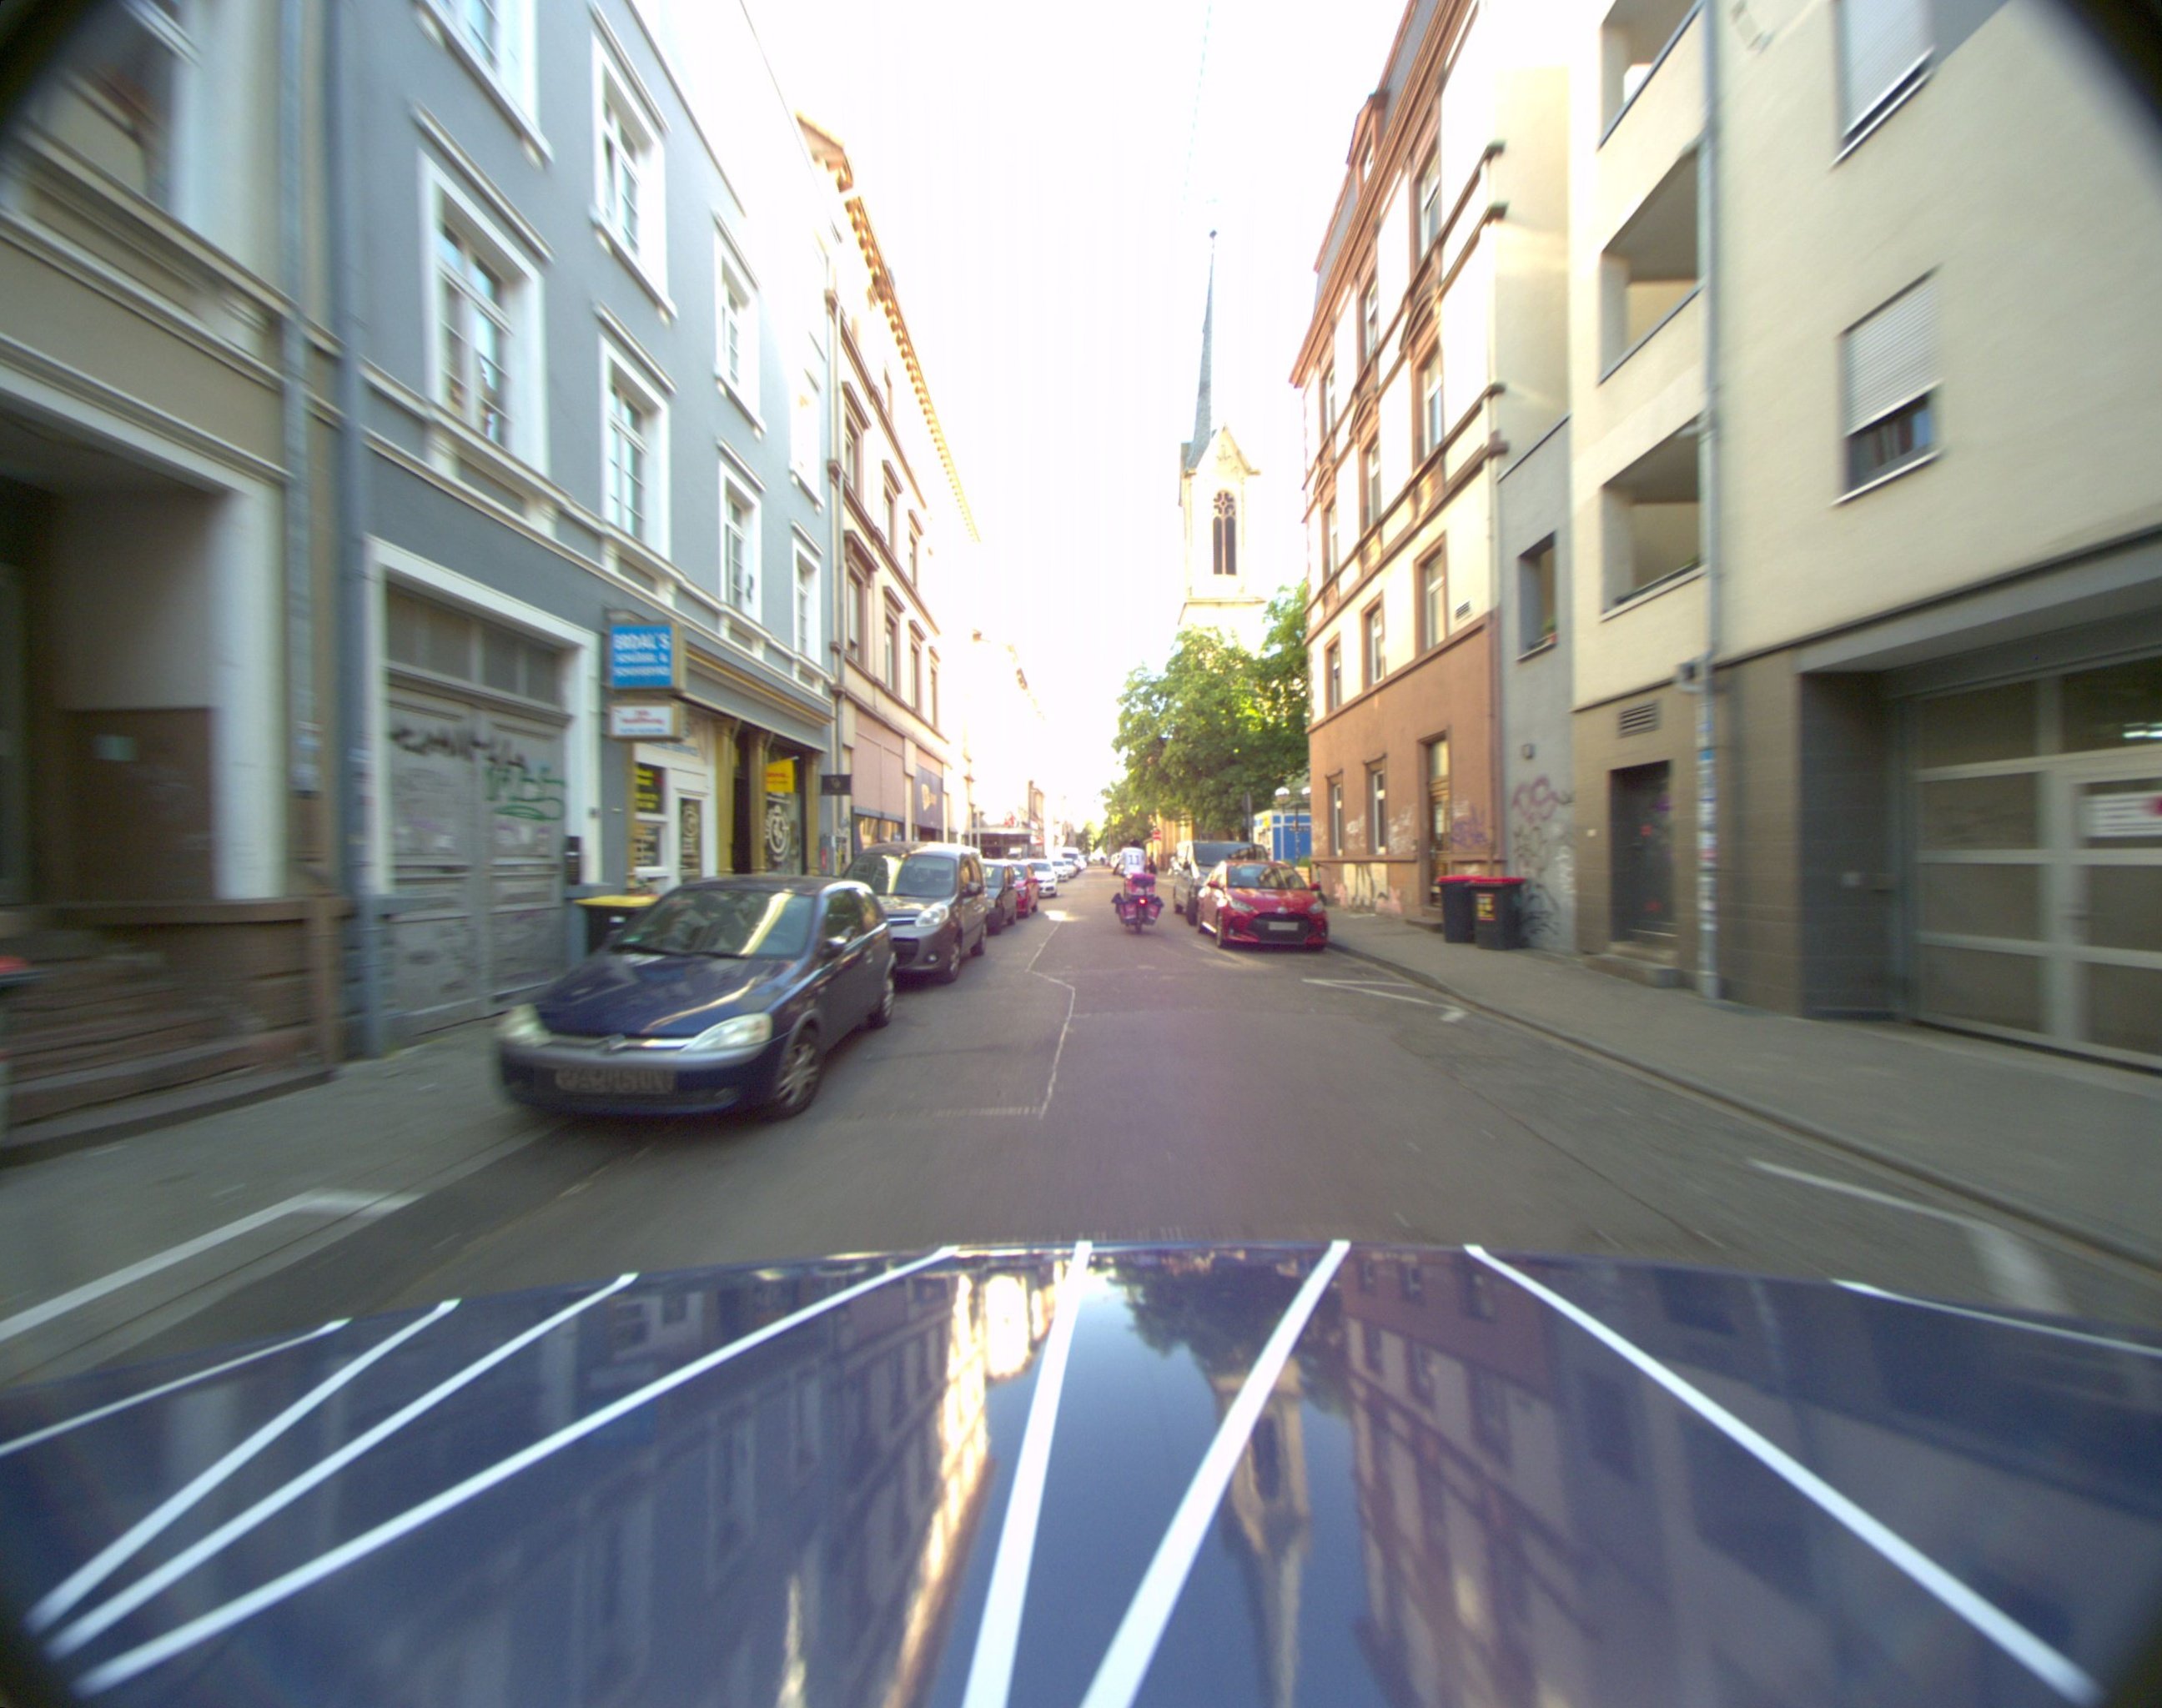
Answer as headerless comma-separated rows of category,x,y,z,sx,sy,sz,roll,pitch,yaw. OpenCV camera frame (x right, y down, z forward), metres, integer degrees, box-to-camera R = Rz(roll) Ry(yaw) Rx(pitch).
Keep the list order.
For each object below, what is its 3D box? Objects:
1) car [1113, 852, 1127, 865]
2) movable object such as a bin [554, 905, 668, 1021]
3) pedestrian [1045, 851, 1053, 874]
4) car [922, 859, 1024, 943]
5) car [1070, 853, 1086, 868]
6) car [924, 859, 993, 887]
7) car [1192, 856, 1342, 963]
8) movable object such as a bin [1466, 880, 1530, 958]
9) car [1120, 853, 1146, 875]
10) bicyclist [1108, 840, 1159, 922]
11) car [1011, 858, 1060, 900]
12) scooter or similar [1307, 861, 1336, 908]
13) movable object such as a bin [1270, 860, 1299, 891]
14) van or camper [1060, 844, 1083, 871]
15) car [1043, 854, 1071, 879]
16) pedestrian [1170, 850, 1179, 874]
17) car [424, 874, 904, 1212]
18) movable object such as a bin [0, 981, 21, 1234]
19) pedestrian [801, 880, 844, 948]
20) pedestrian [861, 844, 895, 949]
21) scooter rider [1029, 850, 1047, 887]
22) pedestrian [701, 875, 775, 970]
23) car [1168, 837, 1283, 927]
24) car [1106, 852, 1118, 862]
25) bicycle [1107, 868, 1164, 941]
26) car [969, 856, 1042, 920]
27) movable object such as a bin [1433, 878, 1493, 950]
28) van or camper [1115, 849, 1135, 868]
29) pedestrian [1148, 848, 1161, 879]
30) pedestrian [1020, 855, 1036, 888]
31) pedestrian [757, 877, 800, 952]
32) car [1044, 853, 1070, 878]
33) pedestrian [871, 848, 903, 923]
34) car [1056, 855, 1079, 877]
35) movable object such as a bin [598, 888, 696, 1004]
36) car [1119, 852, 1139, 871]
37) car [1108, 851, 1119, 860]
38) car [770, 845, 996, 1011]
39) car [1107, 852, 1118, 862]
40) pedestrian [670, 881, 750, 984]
car,4.870,0.586,95.900,1.696,1.529,3.813,-1,0,2
movable object such as a bin,-4.831,1.099,7.855,0.727,1.085,0.685,-1,1,-1
pedestrian,-2.734,0.730,64.637,0.563,1.883,0.530,-2,1,1
car,-2.281,0.944,16.854,1.573,1.548,3.314,2,1,3
car,-0.318,0.745,90.170,1.696,1.615,3.963,-1,0,2
car,-7.001,1.074,43.584,3.582,1.477,1.789,-1,1,1
car,3.132,0.859,13.569,1.755,1.513,3.869,2,1,1
movable object such as a bin,6.147,0.939,11.210,0.731,1.060,0.505,-3,1,-30
car,4.002,0.712,58.508,1.798,1.543,3.834,-2,1,2
bicyclist,1.068,0.537,15.715,0.953,1.618,0.953,1,1,0
car,-1.784,0.963,31.036,1.791,1.507,4.135,-2,1,-1
scooter or similar,6.549,0.810,20.719,0.348,1.209,1.391,-2,1,1
movable object such as a bin,7.547,0.802,28.248,0.872,1.080,0.774,-2,1,2
van or camper,-0.927,0.300,75.964,1.998,2.617,5.979,-2,1,2
car,-1.574,0.771,49.742,1.693,1.454,3.639,-2,1,-2
pedestrian,6.267,0.548,50.813,0.480,1.584,0.714,-2,1,-2
car,-2.494,0.993,5.606,1.556,1.502,3.611,-2,1,-1
movable object such as a bin,-5.011,1.095,3.025,0.696,1.081,0.632,1,1,0
pedestrian,-4.850,1.113,14.273,0.530,1.215,0.515,-1,2,41
pedestrian,-3.445,0.698,12.920,0.428,1.730,0.562,-2,1,-9
scooter rider,-2.107,0.692,37.177,0.609,1.768,0.566,-1,2,41
pedestrian,-4.837,0.952,10.756,0.677,1.269,0.654,-2,1,3
car,3.373,0.603,18.830,2.025,1.868,5.297,-2,0,3
car,5.170,0.479,125.298,1.777,1.614,4.022,-1,0,0
bicycle,1.068,0.974,15.492,0.980,1.306,2.555,0,0,0
car,-2.041,0.887,21.386,1.610,1.563,3.553,-2,1,1
movable object such as a bin,6.065,0.940,12.097,0.760,1.060,0.652,-1,1,21
van or camper,4.611,0.425,79.848,1.984,1.939,4.563,-1,0,2
pedestrian,4.618,0.592,47.873,0.718,1.862,0.720,-2,1,1
pedestrian,-2.622,0.856,37.625,0.566,1.629,0.527,-3,2,-44
pedestrian,-5.063,1.002,12.729,0.439,1.215,0.514,-2,1,3
car,-1.667,0.799,54.844,1.704,1.641,4.063,-2,1,0
pedestrian,-4.580,0.727,17.973,0.630,1.730,0.658,-2,1,-12
car,-1.023,0.904,59.827,1.558,1.518,4.200,-2,1,2
movable object such as a bin,-4.854,1.012,8.532,0.764,1.236,0.580,0,1,-1
car,4.292,0.670,68.383,1.724,1.558,4.000,-2,1,2
car,5.754,0.237,135.791,1.777,1.614,4.022,-1,0,0
car,-2.433,0.795,10.588,1.904,1.783,4.314,-2,1,1
car,5.351,0.468,129.947,1.777,1.614,4.022,-1,0,0
pedestrian,-4.875,1.015,10.029,0.677,1.269,0.628,-2,1,3
